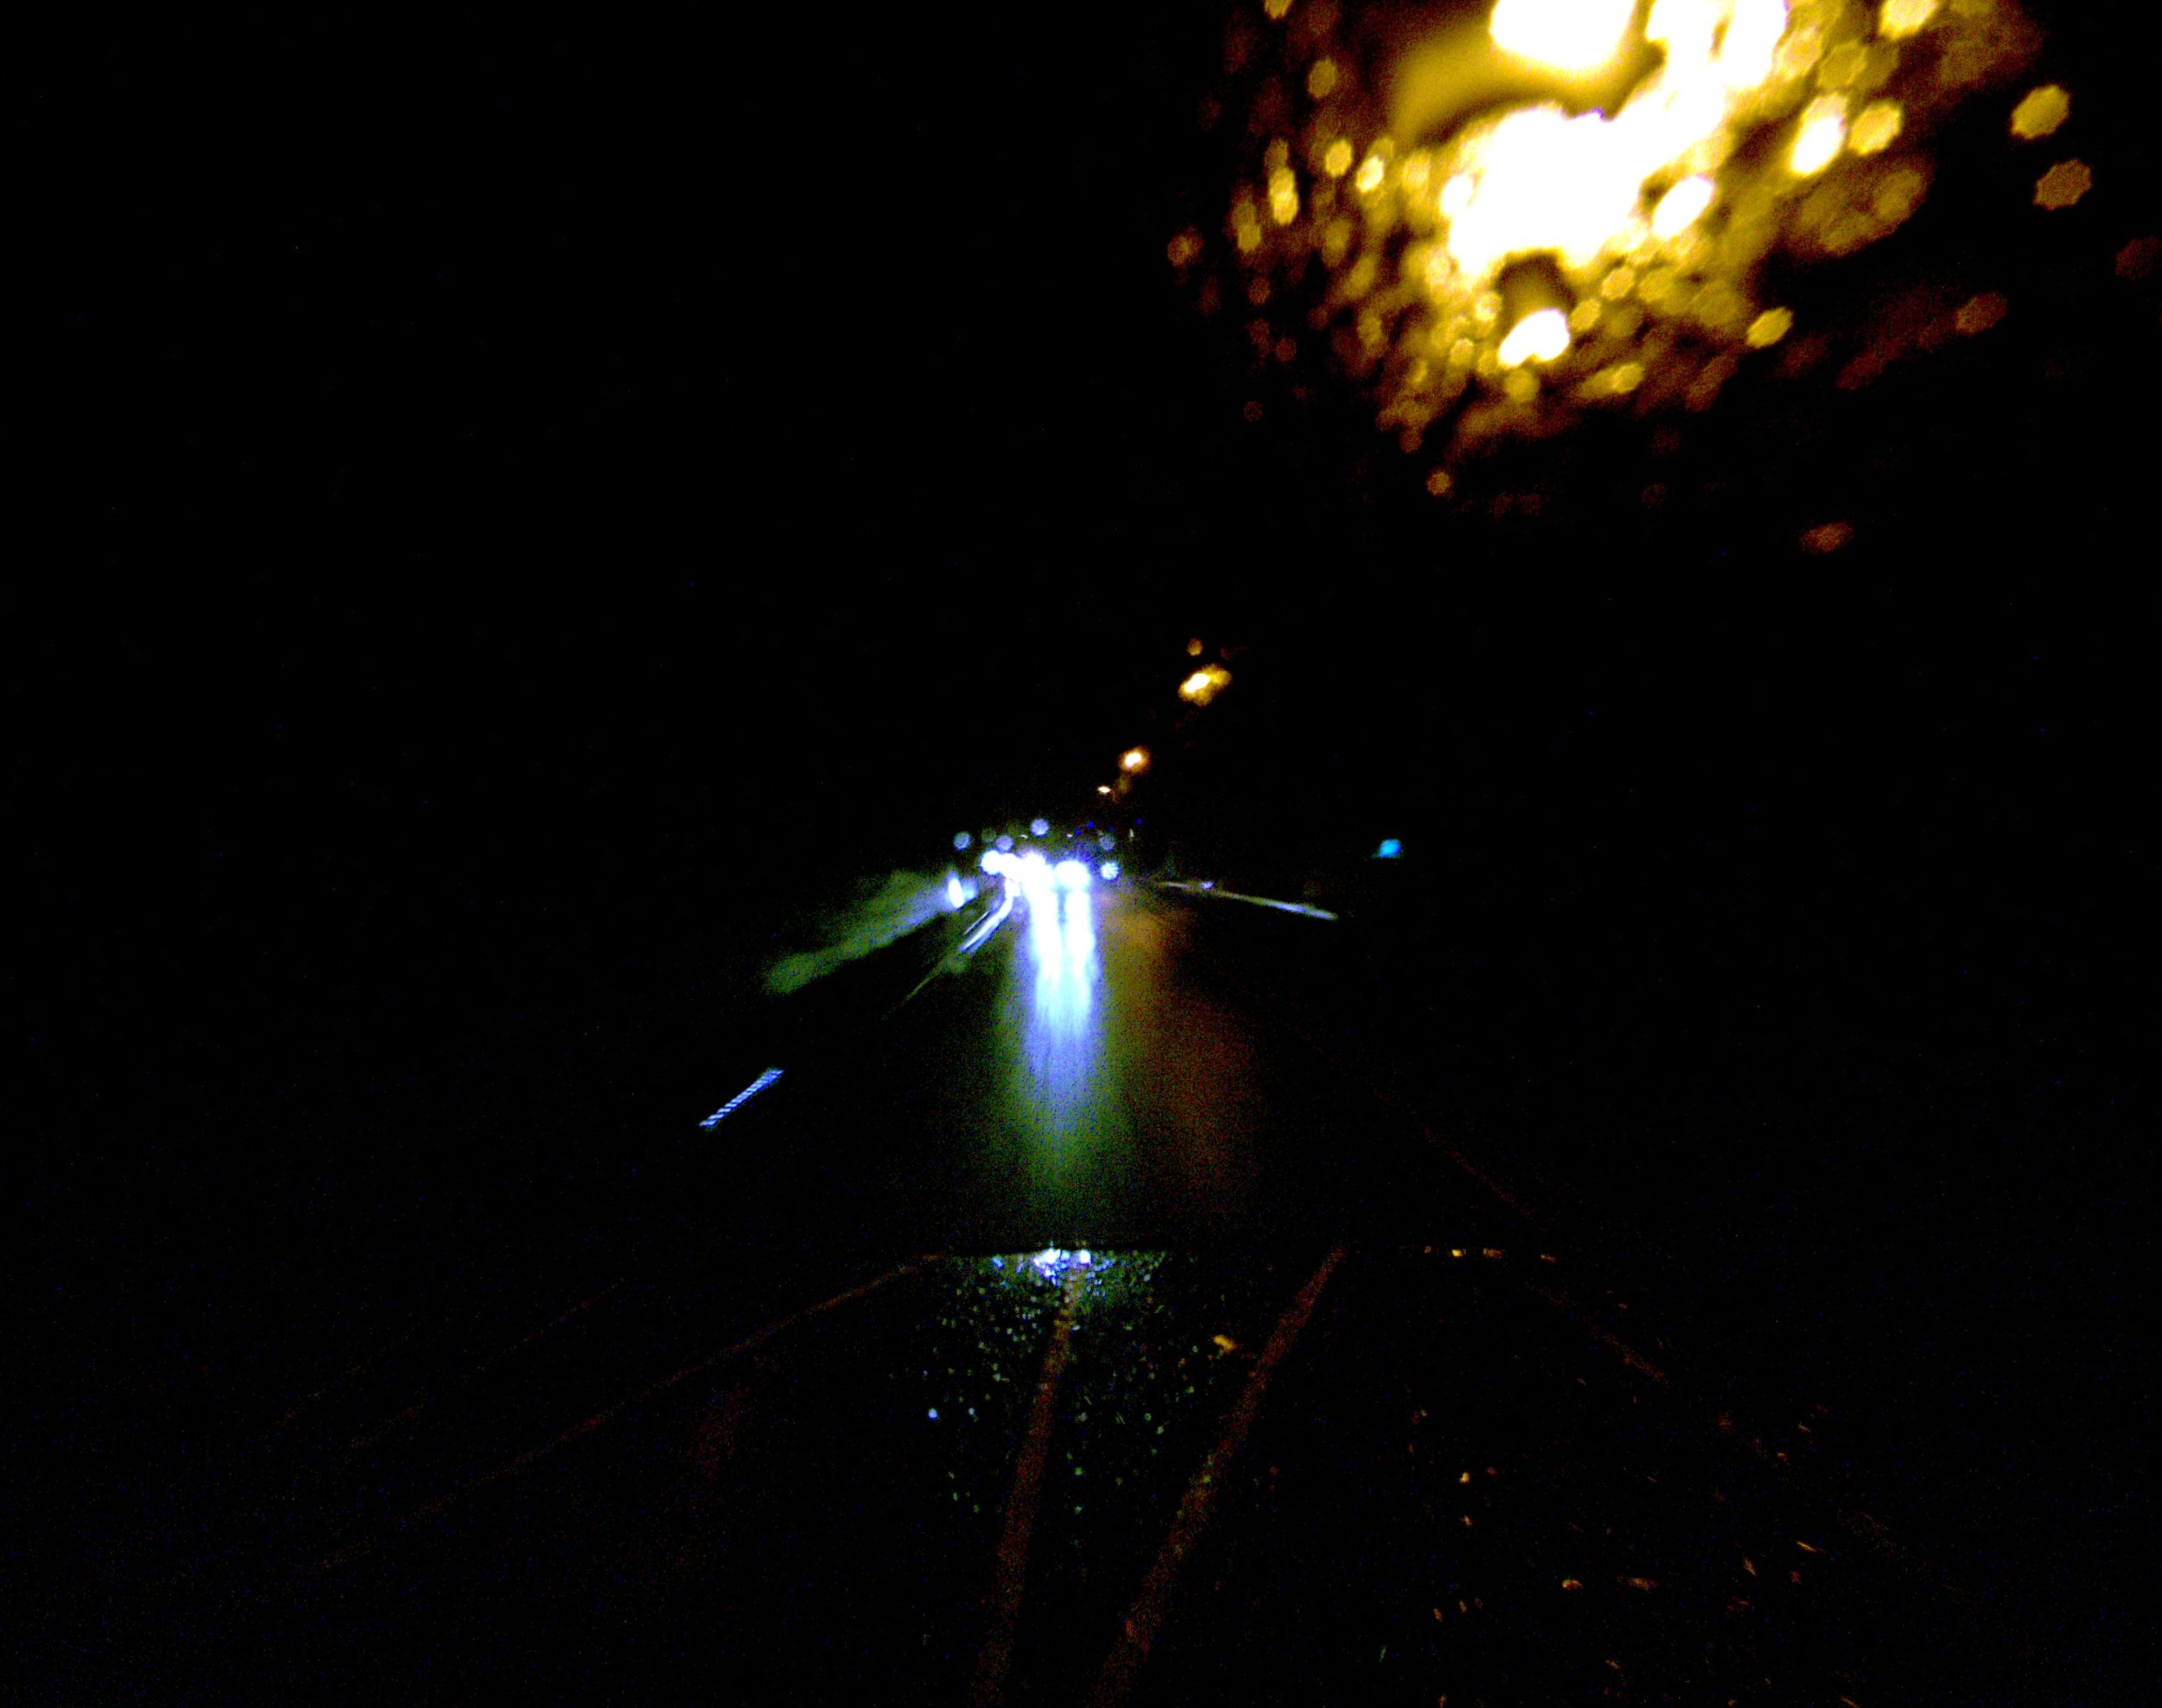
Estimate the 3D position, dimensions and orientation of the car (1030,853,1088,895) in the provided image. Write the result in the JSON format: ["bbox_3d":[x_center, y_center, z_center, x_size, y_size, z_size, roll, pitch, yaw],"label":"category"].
[{"bbox_3d":[-1.107,0.908,35.837,2.000,1.585,4.602,2,2,-10],"label":"car"}]

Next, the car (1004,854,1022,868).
[{"bbox_3d":[-8.631,0.869,96.543,1.710,1.762,3.995,-2,1,-14],"label":"car"}]

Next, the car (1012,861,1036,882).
[{"bbox_3d":[-5.838,1.792,77.855,1.901,2.002,3.995,-2,1,-12],"label":"car"}]
